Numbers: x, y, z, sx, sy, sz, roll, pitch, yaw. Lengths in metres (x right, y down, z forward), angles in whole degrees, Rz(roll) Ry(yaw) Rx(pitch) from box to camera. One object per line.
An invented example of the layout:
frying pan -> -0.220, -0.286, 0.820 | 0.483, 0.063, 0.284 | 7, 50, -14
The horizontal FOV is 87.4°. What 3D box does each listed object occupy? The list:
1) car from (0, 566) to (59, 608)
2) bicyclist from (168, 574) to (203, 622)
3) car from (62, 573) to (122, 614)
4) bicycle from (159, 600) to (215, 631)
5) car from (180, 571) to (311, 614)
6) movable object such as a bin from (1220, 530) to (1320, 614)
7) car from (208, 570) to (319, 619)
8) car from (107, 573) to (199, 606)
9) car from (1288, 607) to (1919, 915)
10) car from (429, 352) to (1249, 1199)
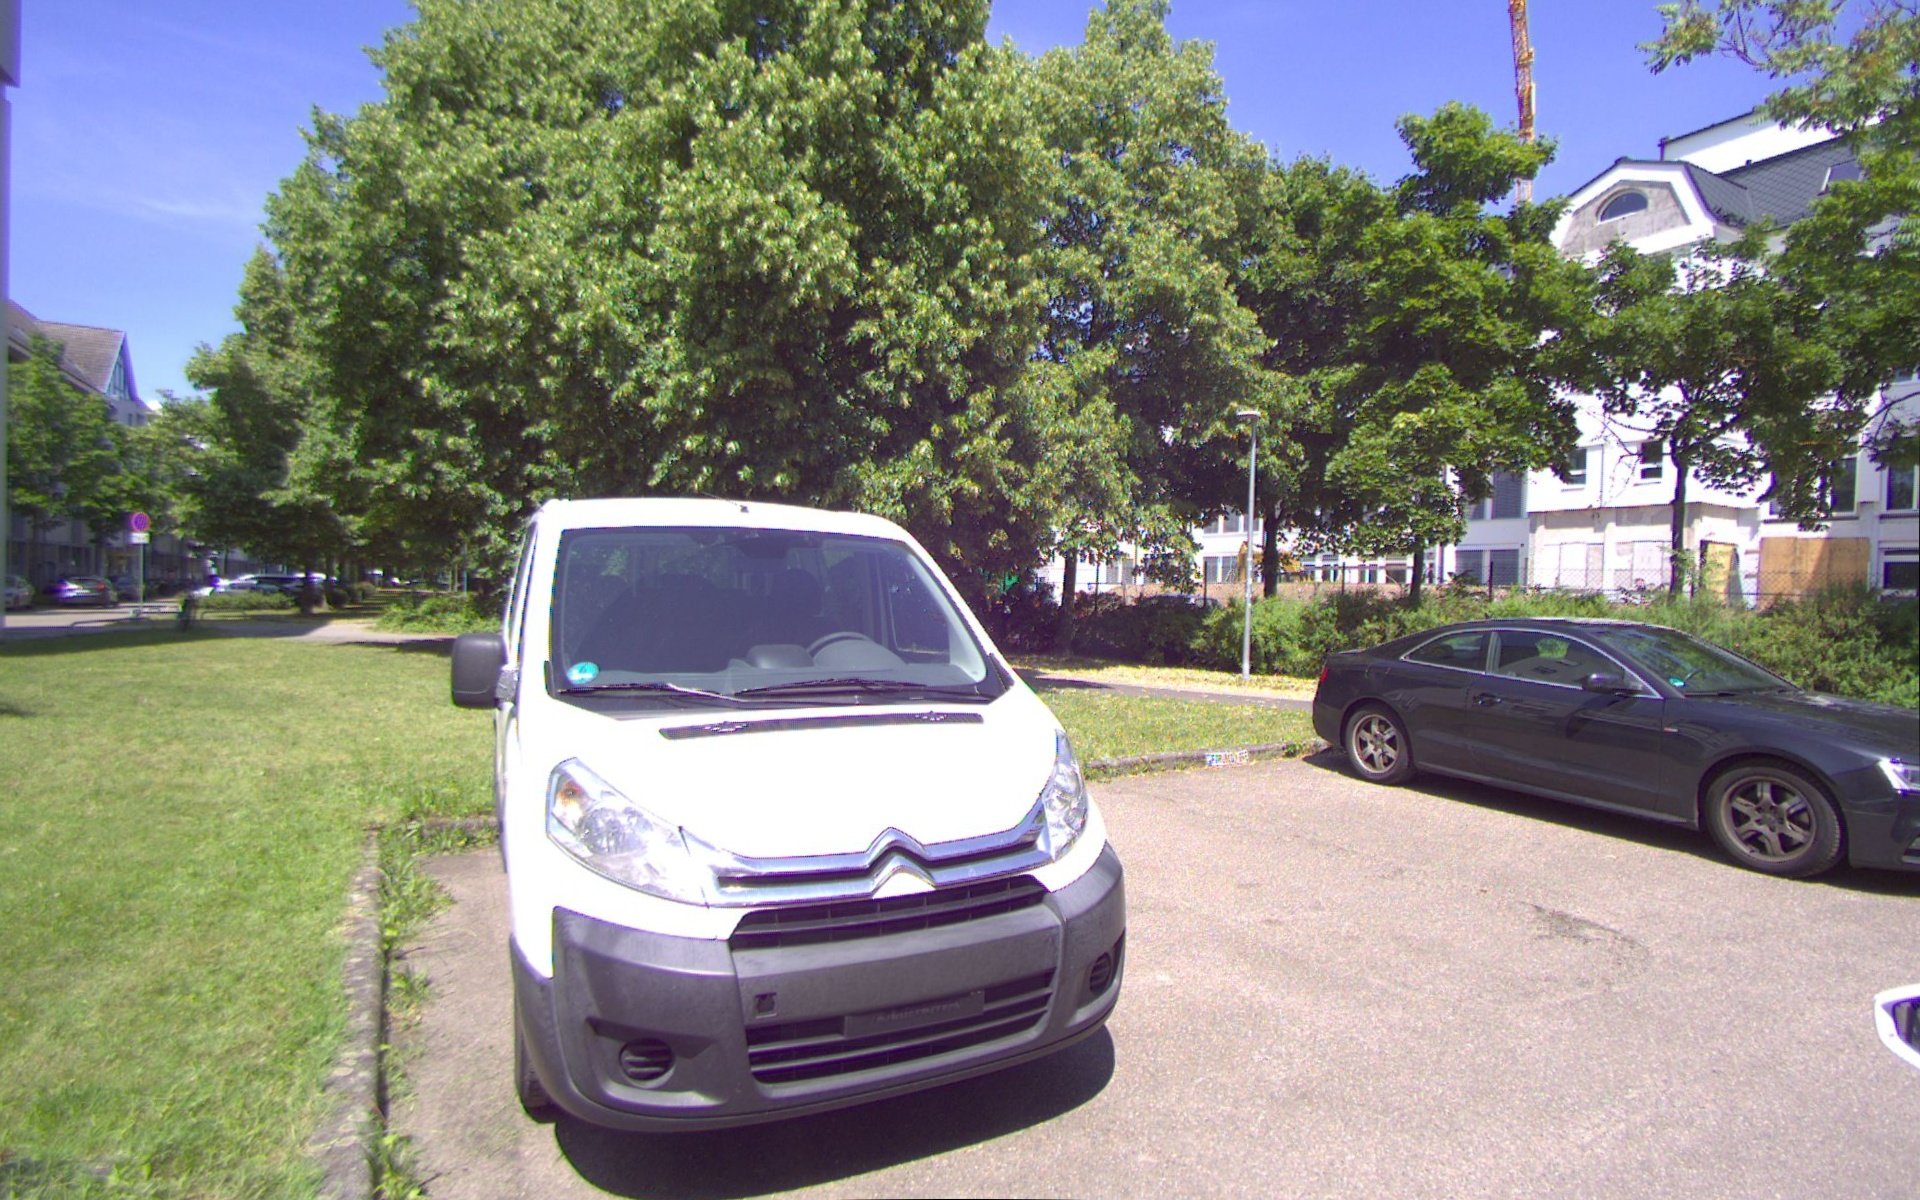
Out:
car -> -39.752, -0.562, 42.878 | 1.796, 1.624, 3.844 | 2, 0, -43
bicyclist -> -17.644, -0.049, 22.892 | 0.511, 1.059, 0.519 | -1, 1, -27
car -> -37.532, -0.305, 43.413 | 1.796, 1.624, 3.844 | 2, 0, -43
bicycle -> -17.738, 0.345, 23.075 | 0.725, 0.650, 1.605 | -1, 2, -27
car -> -29.922, -0.301, 42.256 | 4.292, 1.631, 1.917 | 2, 0, -31
movable object such as a bin -> 17.374, -1.552, 56.724 | 1.973, 4.430, 5.688 | 2, 0, -25
car -> -31.553, -0.226, 45.644 | 3.955, 2.040, 1.983 | 2, 0, -31
car -> -45.911, -0.595, 57.210 | 3.850, 1.652, 1.522 | 2, 0, -31
car -> 4.731, 0.843, 7.190 | 1.997, 1.398, 4.414 | 2, 0, -26
car -> -1.165, 0.458, 4.616 | 2.040, 1.908, 4.831 | 2, 0, -26
